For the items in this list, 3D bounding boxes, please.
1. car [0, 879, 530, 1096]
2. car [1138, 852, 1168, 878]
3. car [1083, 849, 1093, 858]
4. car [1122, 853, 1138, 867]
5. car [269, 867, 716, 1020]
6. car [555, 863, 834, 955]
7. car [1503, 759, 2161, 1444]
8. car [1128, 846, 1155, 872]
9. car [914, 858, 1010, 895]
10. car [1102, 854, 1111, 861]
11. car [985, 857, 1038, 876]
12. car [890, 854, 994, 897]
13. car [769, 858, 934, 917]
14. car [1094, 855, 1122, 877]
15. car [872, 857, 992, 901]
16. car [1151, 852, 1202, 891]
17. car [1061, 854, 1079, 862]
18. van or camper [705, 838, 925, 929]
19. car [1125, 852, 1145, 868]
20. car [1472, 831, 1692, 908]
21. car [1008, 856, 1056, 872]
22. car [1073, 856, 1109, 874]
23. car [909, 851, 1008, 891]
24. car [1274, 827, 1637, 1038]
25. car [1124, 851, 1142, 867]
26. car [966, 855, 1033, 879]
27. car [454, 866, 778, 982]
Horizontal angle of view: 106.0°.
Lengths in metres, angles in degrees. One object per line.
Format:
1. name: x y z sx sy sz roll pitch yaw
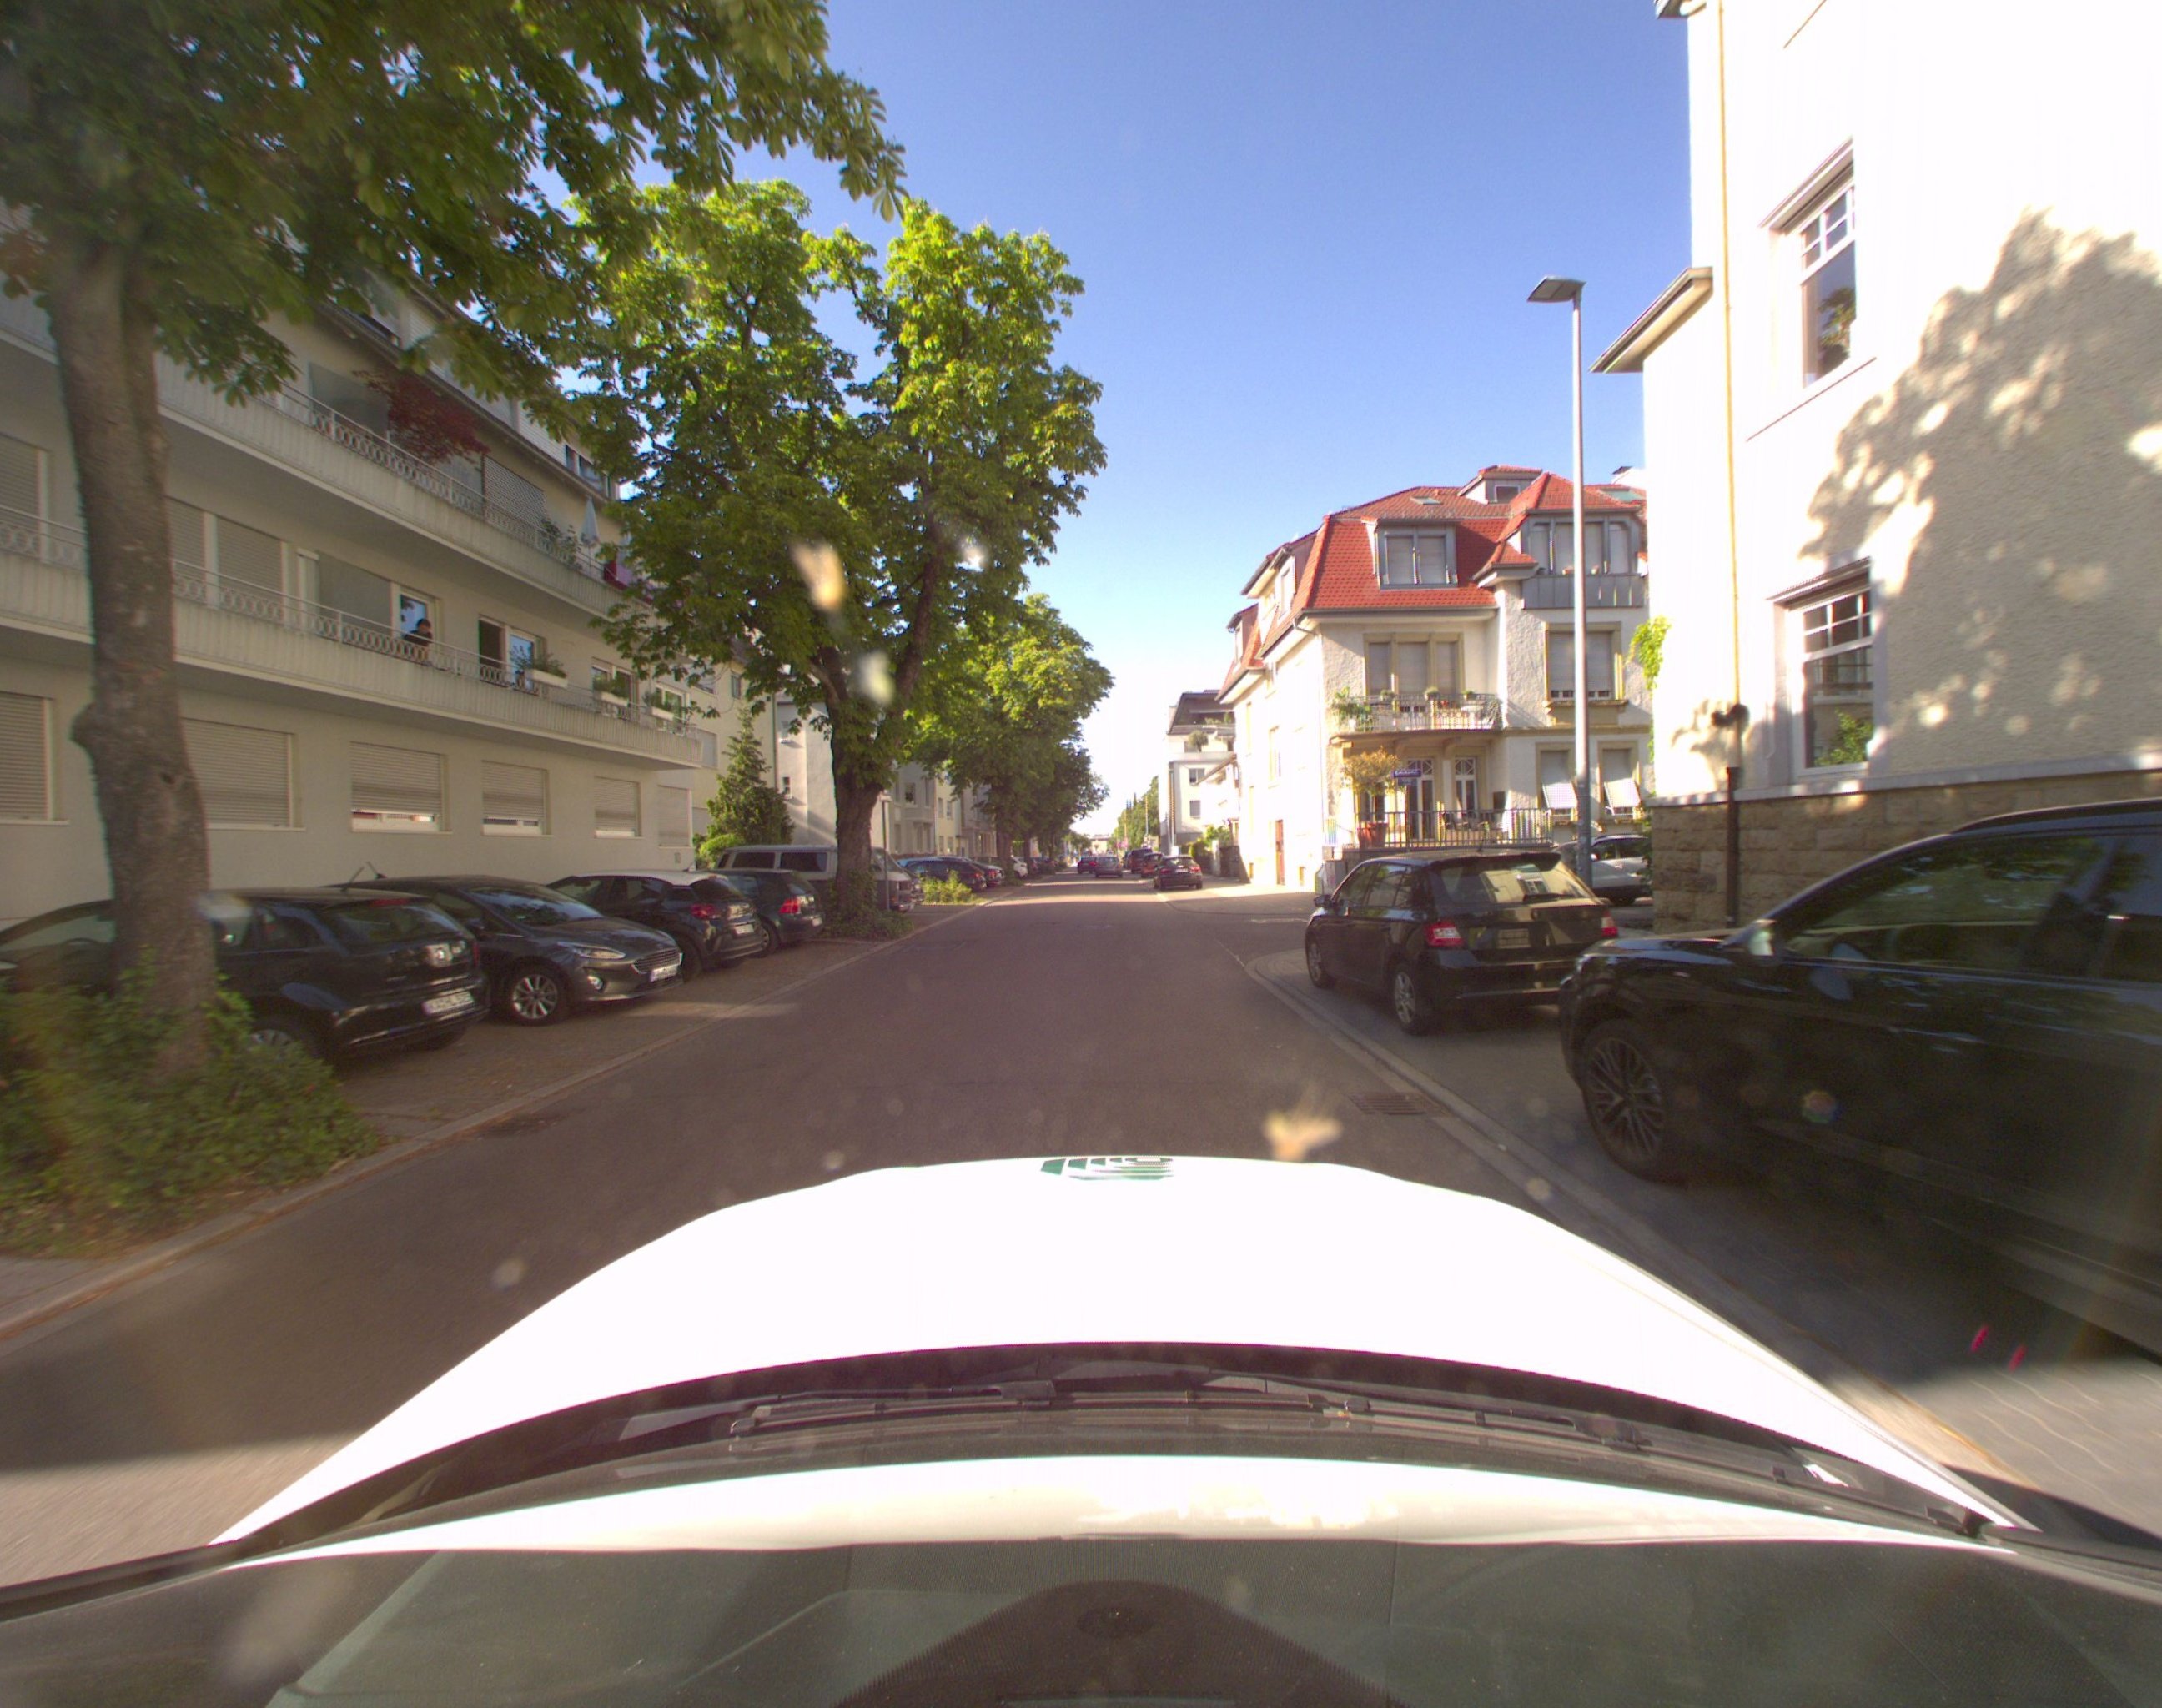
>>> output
1. car: -6.655 0.922 6.353 3.471 1.420 1.708 0 -1 -4
2. car: 4.429 0.640 50.551 1.586 1.480 3.248 -4 0 1
3. car: 1.384 -0.128 172.621 1.868 1.728 3.996 -2 0 -3
4. car: 5.425 0.716 90.285 1.558 1.410 3.732 -6 -1 3
5. car: -6.190 0.883 8.864 3.628 1.463 1.712 0 -1 3
6. car: -6.421 0.887 13.856 3.910 1.414 1.715 0 0 -1
7. car: 3.275 0.521 2.419 1.785 1.520 4.367 -3 -1 1
8. car: 4.682 0.410 63.317 1.864 1.905 5.200 -3 -1 3
9. car: -5.296 0.994 36.463 3.973 1.468 1.697 -2 0 0
10. car: 5.463 0.730 174.841 1.718 1.330 3.995 -2 0 -3
11. car: -5.438 0.975 63.899 3.974 1.421 1.771 0 1 0
12. car: -5.742 0.879 34.088 3.975 1.592 1.878 -2 0 -1
13. car: -6.130 0.875 21.987 3.929 1.498 1.664 0 1 3
14. car: 1.816 0.802 53.679 1.720 1.420 3.962 -1 -1 2
15. car: -5.652 0.939 31.237 4.173 1.498 1.861 -2 0 0
16. car: 3.947 0.703 34.218 1.614 1.440 3.934 -4 0 0
17. car: -2.290 0.882 167.276 3.488 1.533 1.642 -2 0 -6
18. van or camper: -6.156 0.667 19.245 4.481 1.914 1.964 -1 0 1
19. car: 5.267 0.581 79.885 1.730 1.531 4.180 -2 0 1
20. car: 11.469 0.367 18.821 3.976 1.591 1.790 -1 -2 -2
21. car: -4.587 0.937 76.794 4.460 1.479 1.868 0 -1 -1
22. car: 0.870 0.898 65.809 1.693 1.448 4.221 0 -1 18
23. car: -5.884 0.796 39.453 4.369 1.652 1.824 -3 1 2
24. car: 3.331 0.633 8.196 1.658 1.520 3.998 -3 -1 -2
25. car: 5.458 0.539 85.568 1.676 1.435 4.267 -6 -1 1
26. car: -5.114 0.813 51.510 4.009 1.485 1.807 0 0 0
27. car: -6.329 0.908 11.387 3.465 1.458 1.798 0 -1 2
